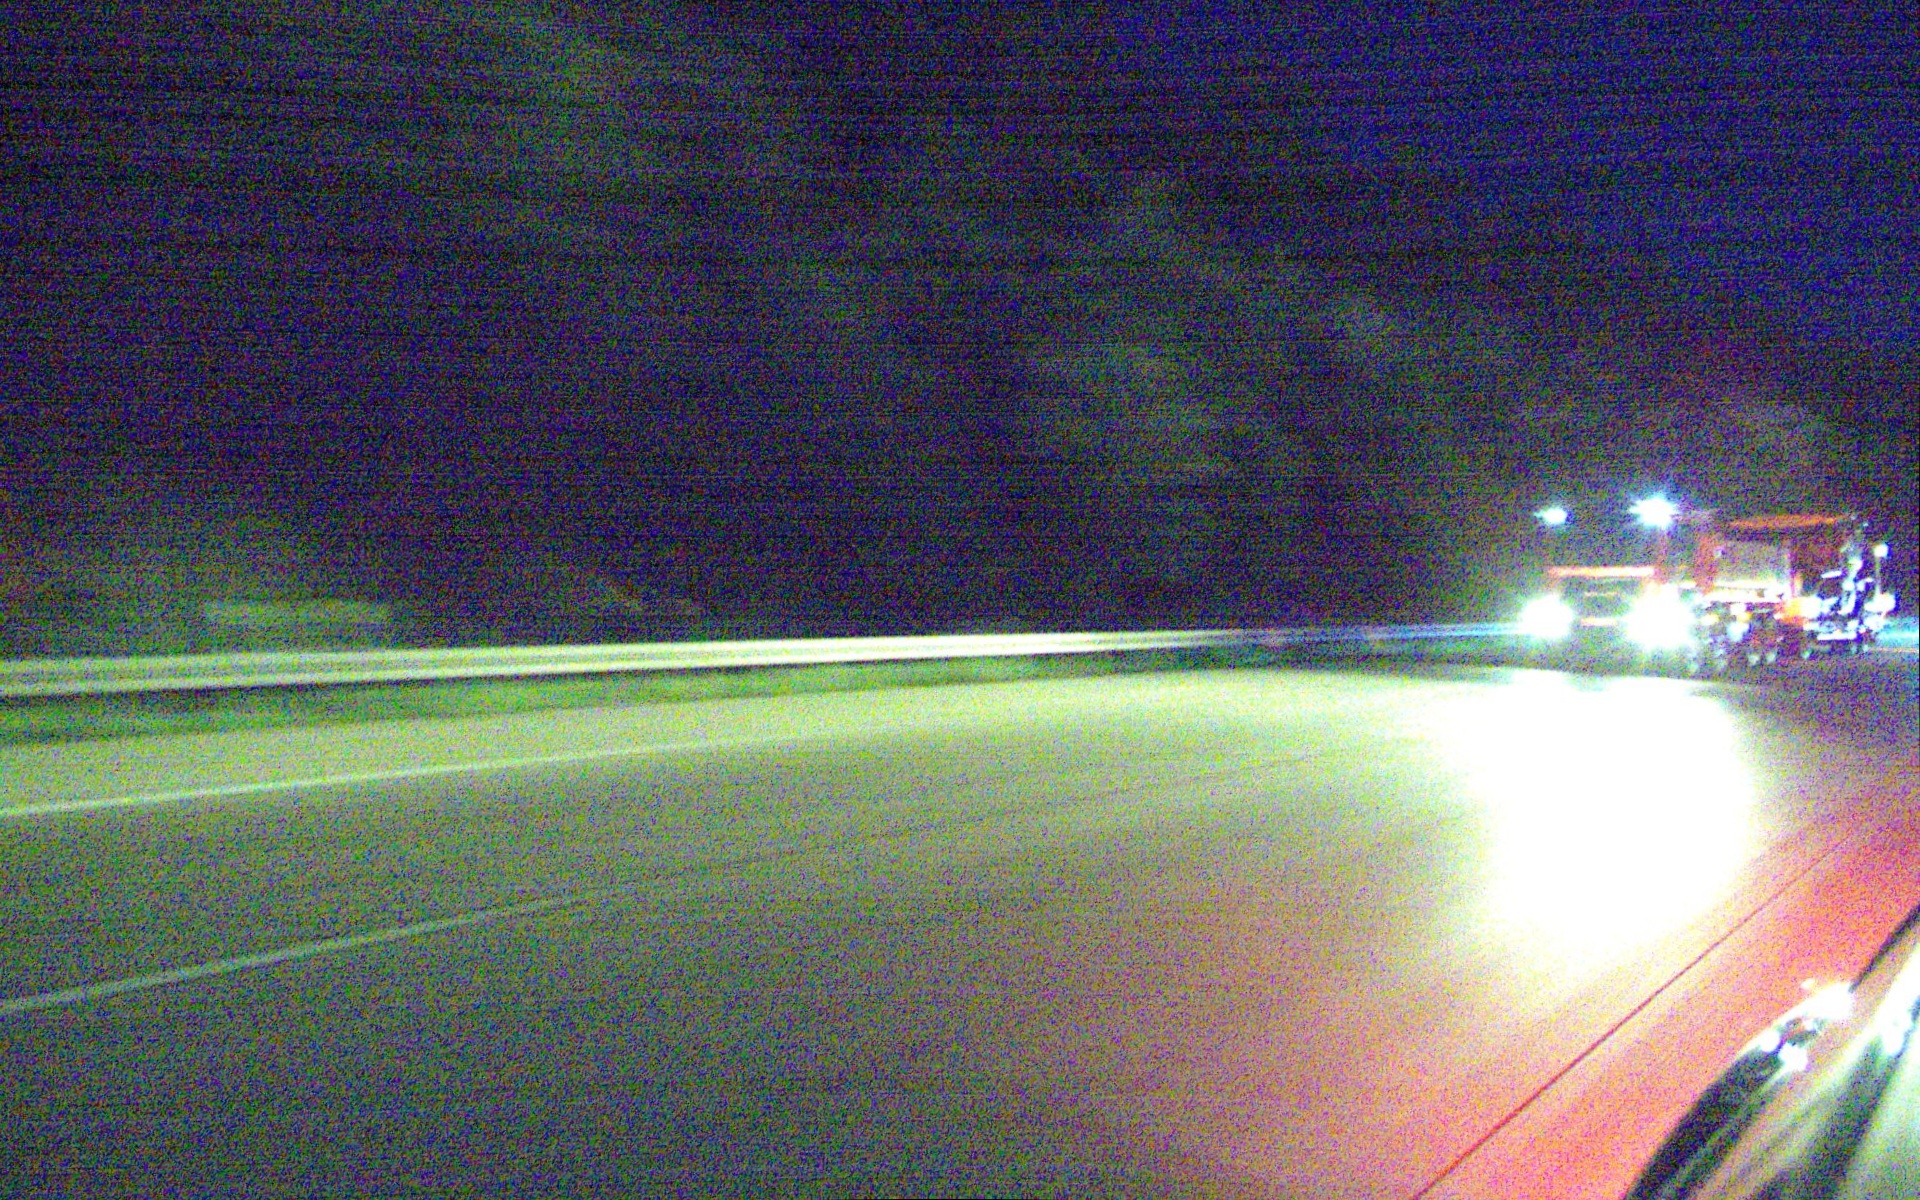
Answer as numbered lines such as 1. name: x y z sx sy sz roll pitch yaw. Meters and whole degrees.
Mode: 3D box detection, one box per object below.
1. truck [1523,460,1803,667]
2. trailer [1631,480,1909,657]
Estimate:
1. truck: 15.823 -0.693 22.527 7.906 3.888 2.874 0 0 -38
2. trailer: 22.485 -0.773 27.636 12.648 3.981 2.882 -1 0 -37
